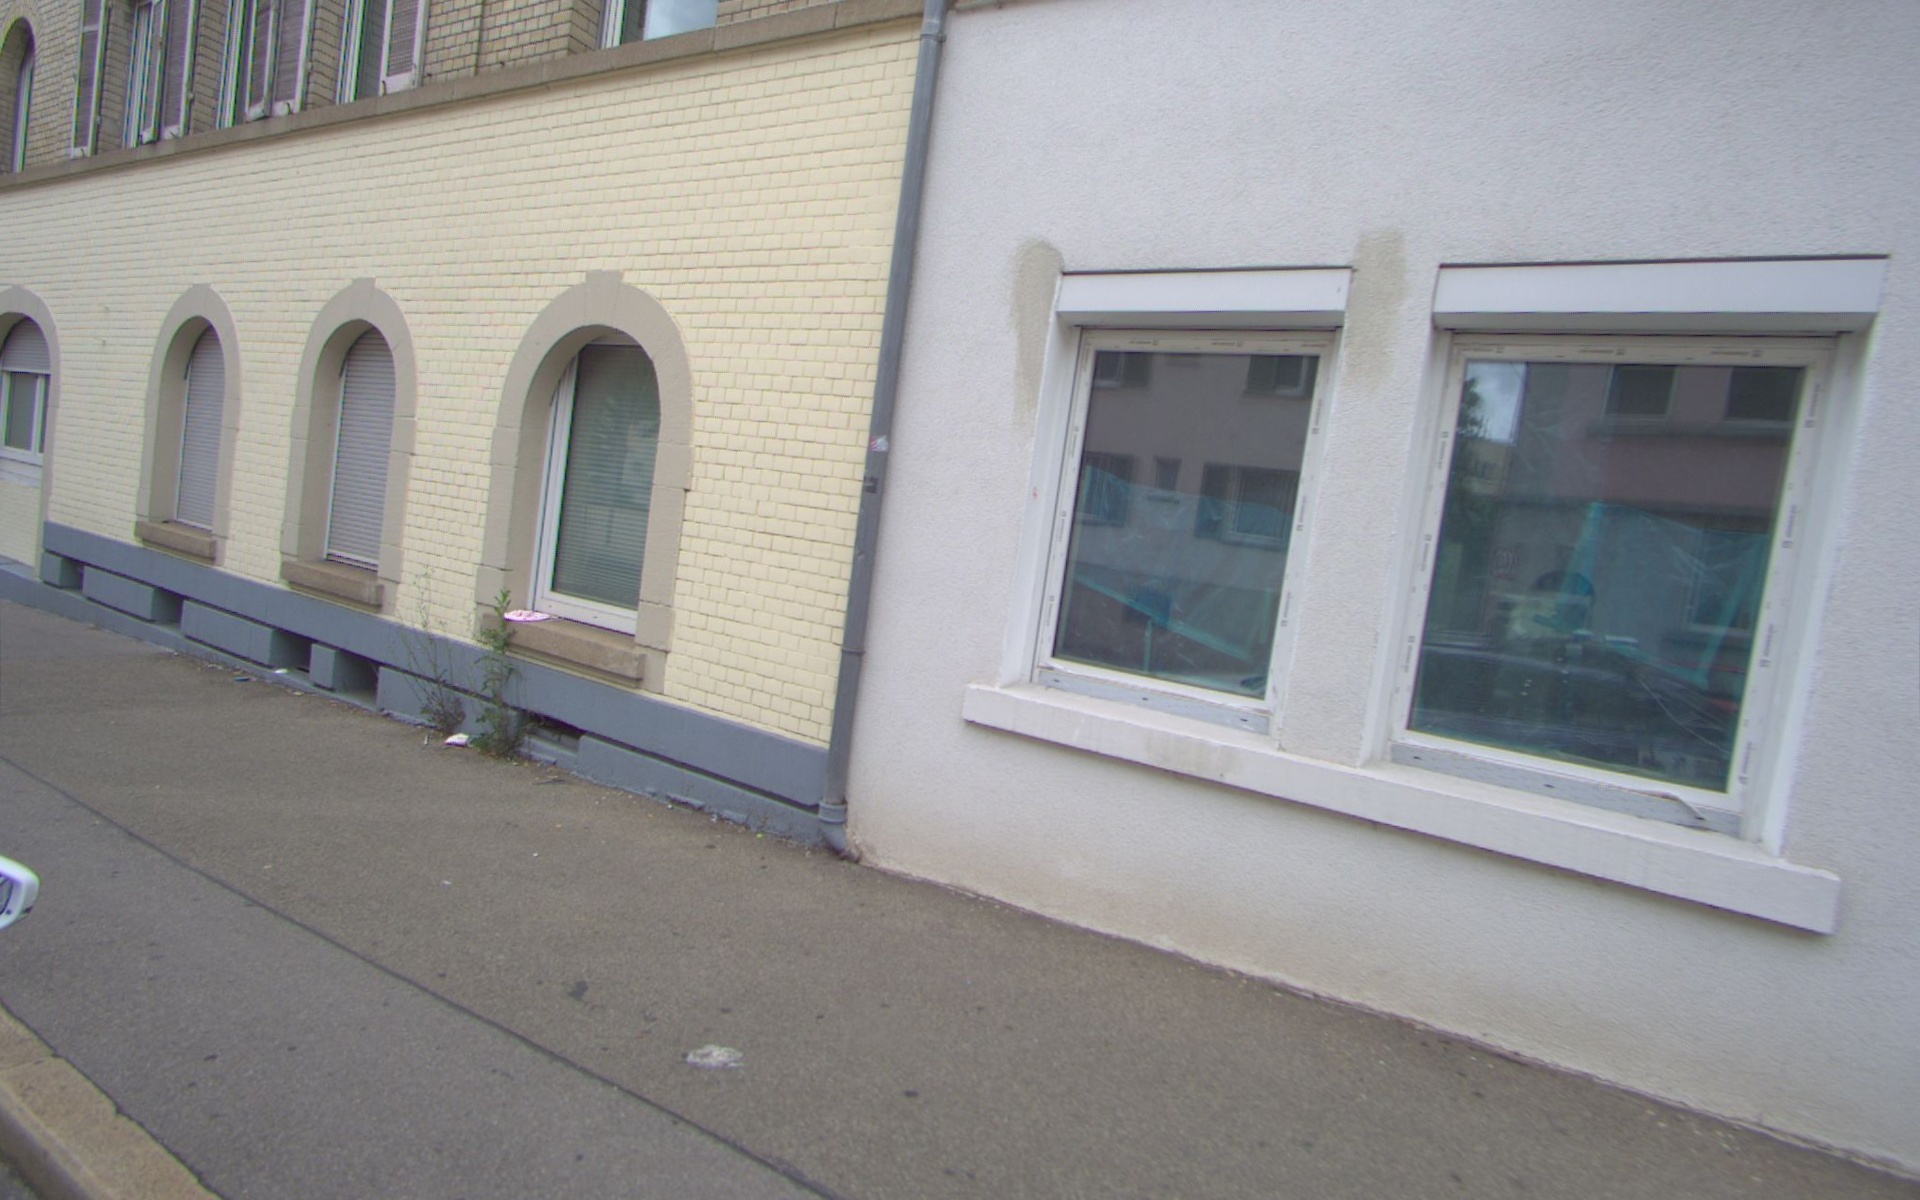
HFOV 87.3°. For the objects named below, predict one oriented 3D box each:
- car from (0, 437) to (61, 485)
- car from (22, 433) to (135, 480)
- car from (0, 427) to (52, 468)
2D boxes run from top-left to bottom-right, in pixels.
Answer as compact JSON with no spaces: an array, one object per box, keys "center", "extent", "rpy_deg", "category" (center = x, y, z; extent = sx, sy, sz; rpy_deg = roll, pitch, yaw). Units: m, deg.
[{"center":[-36.966,-5.415,38.469],"extent":[1.889,1.554,4.126],"rpy_deg":[10,3,-12],"category":"car"},{"center":[-45.164,-7.324,51.674],"extent":[1.884,1.653,4.137],"rpy_deg":[11,3,1],"category":"car"},{"center":[-44.684,-7.178,46.499],"extent":[1.887,1.554,4.130],"rpy_deg":[10,3,-8],"category":"car"}]
